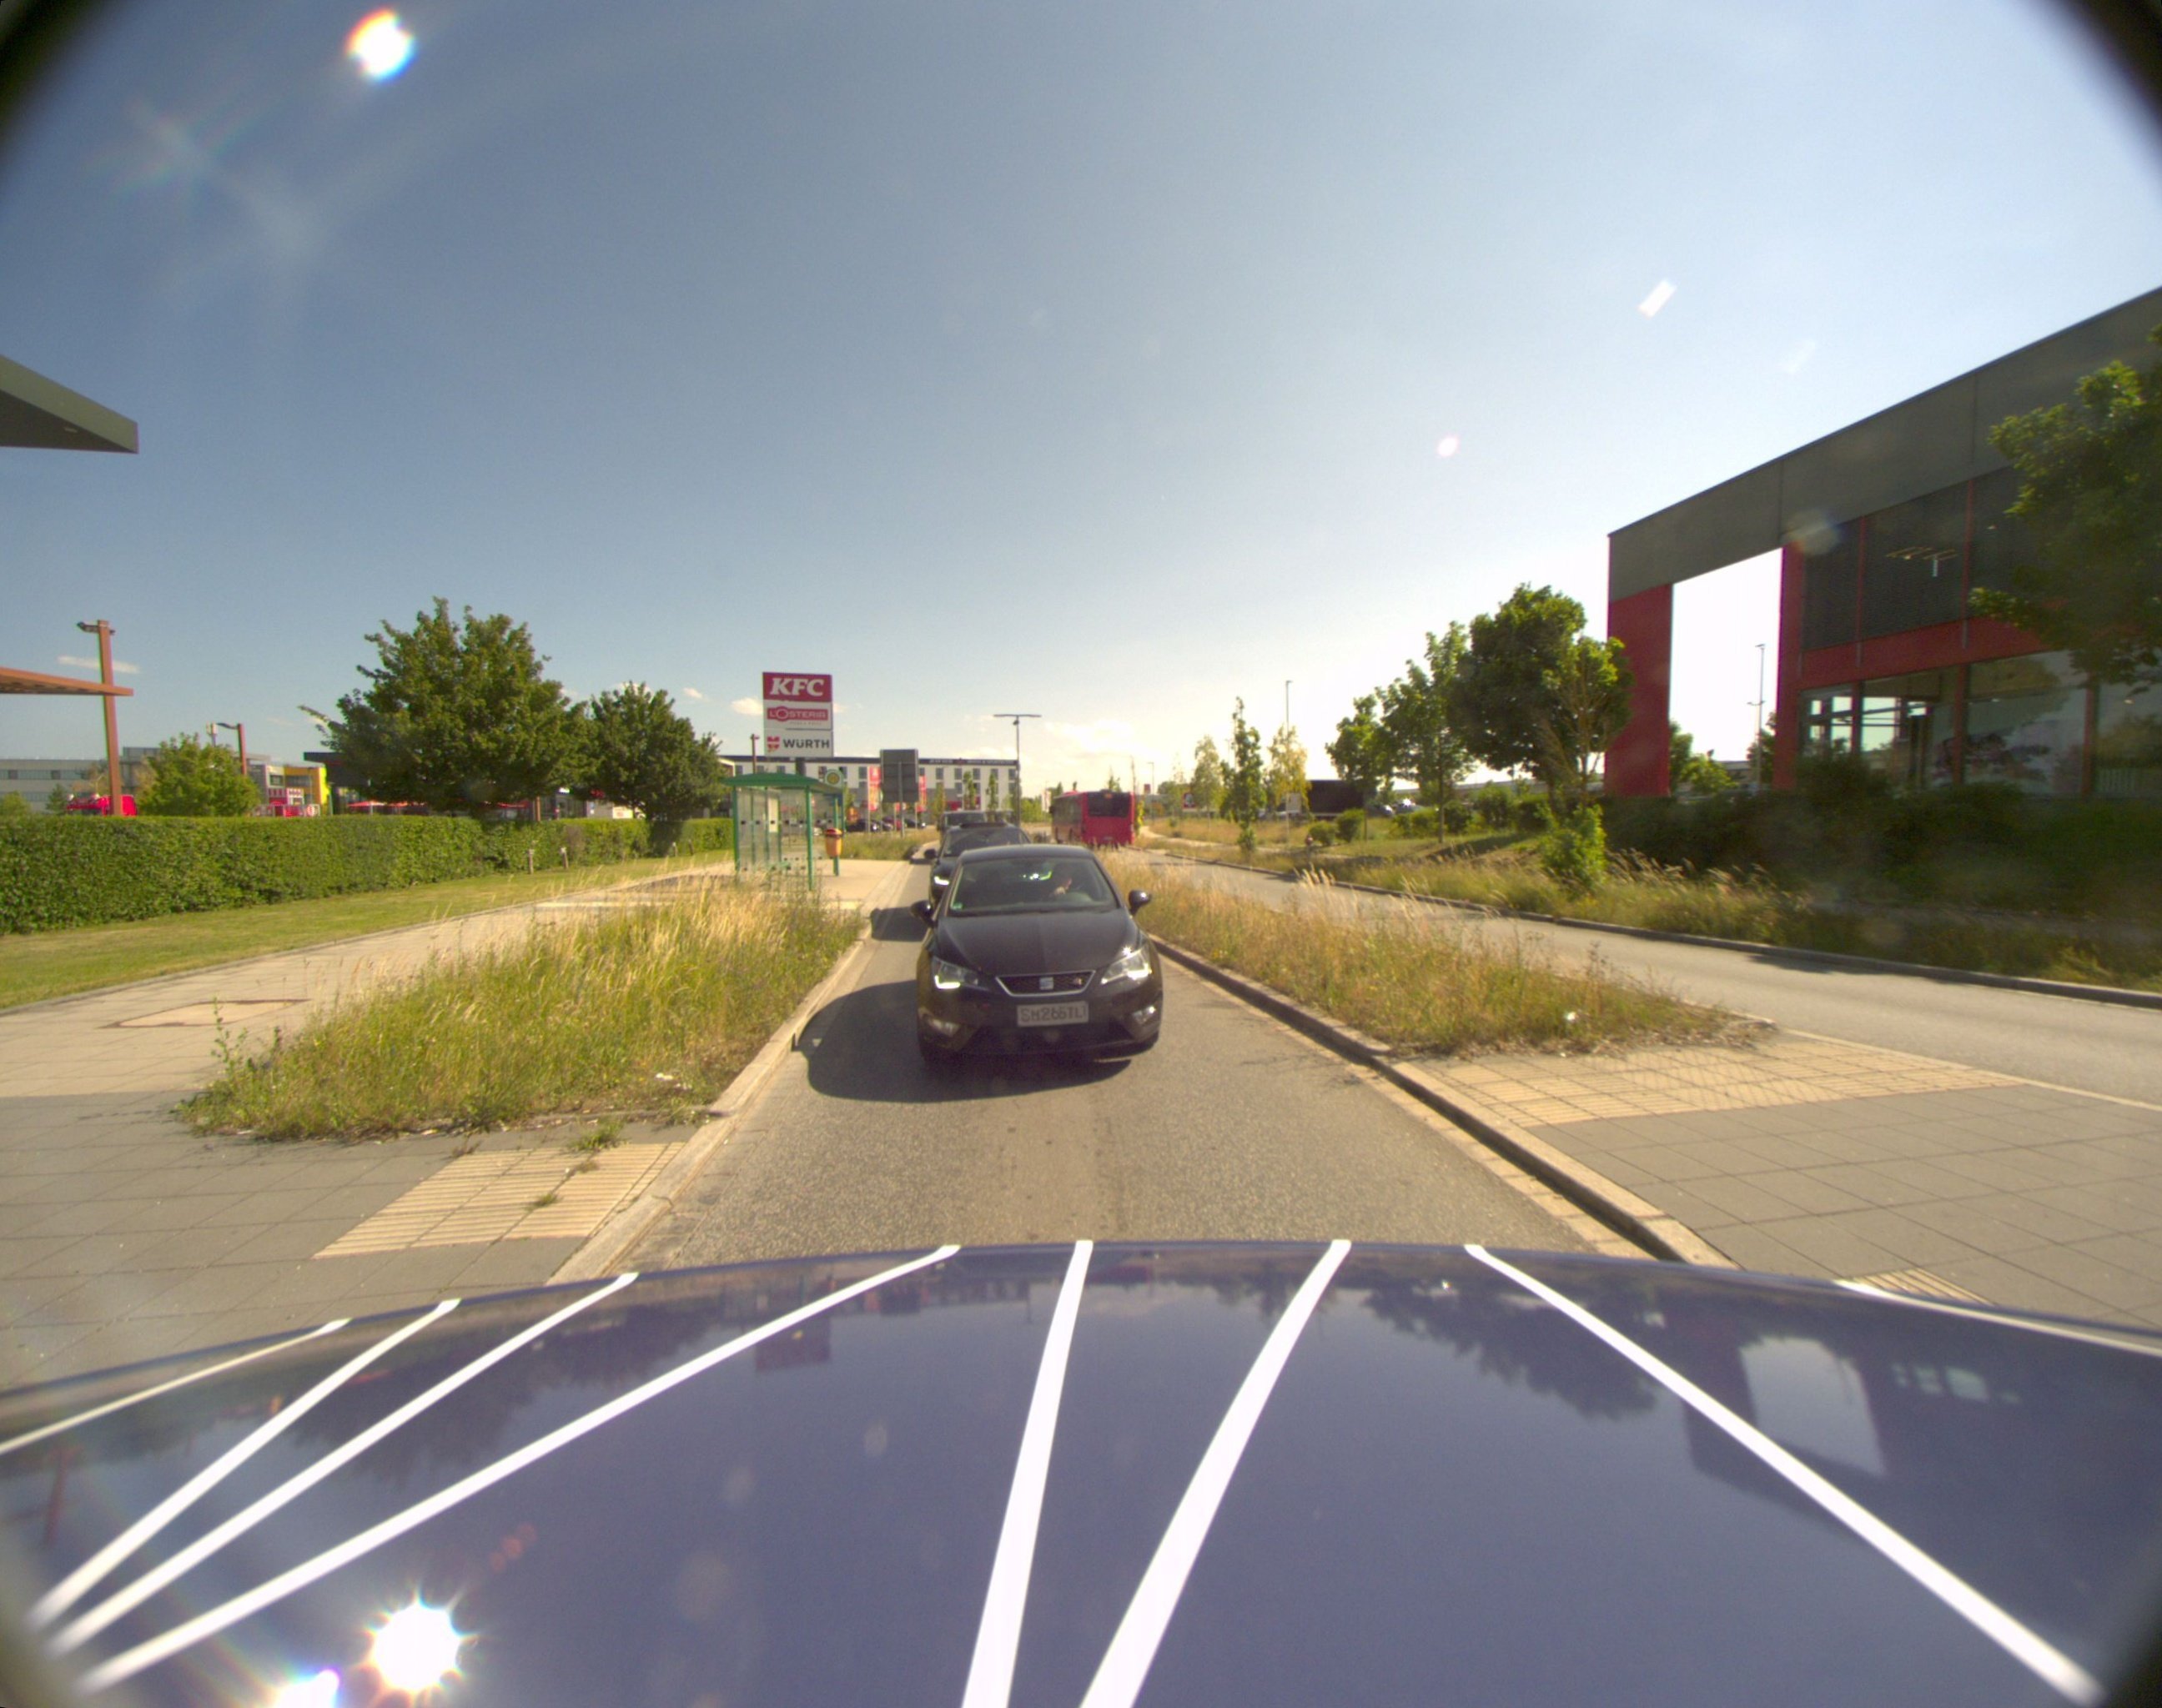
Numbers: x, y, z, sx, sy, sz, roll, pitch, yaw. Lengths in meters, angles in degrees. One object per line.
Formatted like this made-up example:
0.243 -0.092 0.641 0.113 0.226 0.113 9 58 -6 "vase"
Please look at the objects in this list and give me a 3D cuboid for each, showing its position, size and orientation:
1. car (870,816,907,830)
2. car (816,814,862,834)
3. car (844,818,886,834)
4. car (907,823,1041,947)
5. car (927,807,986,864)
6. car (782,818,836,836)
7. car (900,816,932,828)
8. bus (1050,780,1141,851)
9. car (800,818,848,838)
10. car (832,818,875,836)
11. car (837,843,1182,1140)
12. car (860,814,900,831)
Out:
-24.081 -3.918 95.111 4.181 1.752 1.824 0 3 8 "car"
-25.611 -3.165 80.581 4.182 2.003 1.933 0 3 4 "car"
-24.702 -3.203 86.806 4.181 1.847 1.803 0 3 8 "car"
-1.823 0.379 13.227 1.863 1.679 3.995 -4 3 -7 "car"
-4.997 -0.827 30.943 2.080 2.038 4.677 -4 4 -7 "car"
-25.996 -2.606 72.782 4.441 1.644 1.932 -1 3 -3 "car"
-22.073 -4.281 101.550 3.821 1.611 1.756 0 3 4 "car"
0.437 -2.010 40.847 2.618 3.224 11.865 -1 3 -10 "bus"
-26.196 -2.645 77.461 4.182 2.003 1.933 0 3 5 "car"
-25.272 -3.025 84.452 4.182 2.003 1.933 0 3 4 "car"
-0.530 0.744 6.286 1.862 1.460 3.996 -3 3 -4 "car"
-24.248 -3.823 91.876 4.183 2.003 1.933 0 3 3 "car"
